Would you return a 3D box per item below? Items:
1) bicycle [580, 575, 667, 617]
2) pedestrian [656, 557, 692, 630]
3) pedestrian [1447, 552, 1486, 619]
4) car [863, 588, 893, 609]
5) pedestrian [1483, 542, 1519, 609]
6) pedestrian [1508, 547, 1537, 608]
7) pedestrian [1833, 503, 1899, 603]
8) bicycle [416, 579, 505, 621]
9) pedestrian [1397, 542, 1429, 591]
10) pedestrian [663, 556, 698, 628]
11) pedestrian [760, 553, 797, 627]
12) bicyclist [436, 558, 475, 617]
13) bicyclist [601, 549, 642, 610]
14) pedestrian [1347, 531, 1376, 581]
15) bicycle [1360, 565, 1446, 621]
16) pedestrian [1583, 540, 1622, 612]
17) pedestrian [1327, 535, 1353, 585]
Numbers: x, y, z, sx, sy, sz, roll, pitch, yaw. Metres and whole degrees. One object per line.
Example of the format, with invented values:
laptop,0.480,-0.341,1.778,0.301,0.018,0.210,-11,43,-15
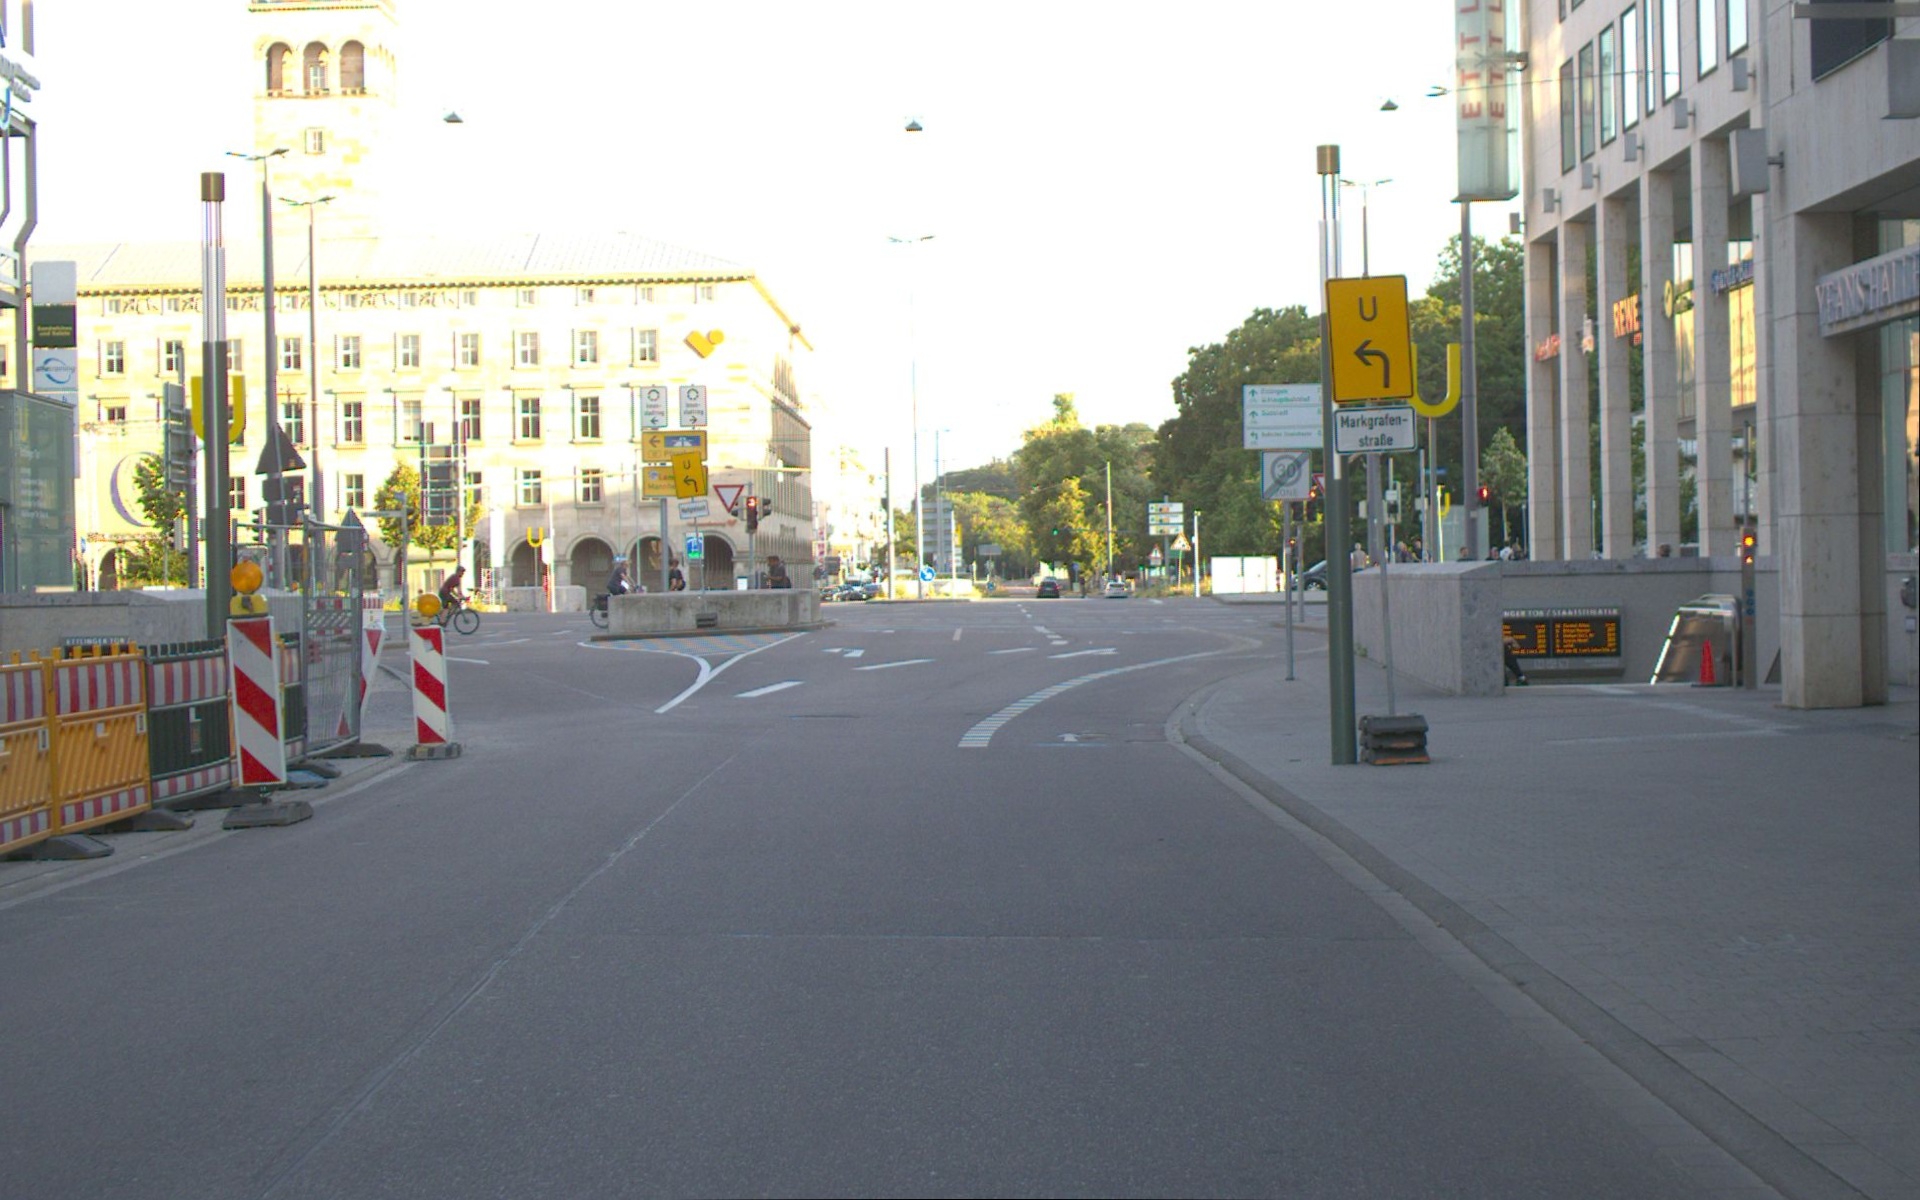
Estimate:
bicycle,-9.027,-0.115,92.338,2.242,1.058,0.653,-1,1,1
pedestrian,-7.142,-0.174,85.919,0.738,1.771,0.863,-4,1,-2
pedestrian,13.831,-0.391,93.925,0.860,1.771,0.741,-4,1,2
car,-6.182,-0.116,258.330,1.993,1.514,4.000,-1,1,2
pedestrian,14.735,-0.673,93.631,0.756,1.771,0.741,-4,1,2
pedestrian,16.015,-0.653,97.875,0.692,1.724,0.741,-1,1,3
pedestrian,16.508,-0.854,62.676,0.860,1.771,0.990,-2,1,0
bicycle,-13.306,-0.010,91.645,2.242,1.058,0.653,-1,1,2
pedestrian,15.980,-1.186,121.276,0.808,1.724,0.688,-1,1,-30
pedestrian,-7.071,-0.214,86.967,0.738,1.771,0.863,-4,1,-2
pedestrian,-4.405,-0.245,83.495,0.738,1.771,0.863,-3,1,-8
bicyclist,-13.454,-0.338,91.646,0.879,1.525,0.653,-1,1,2
bicyclist,-9.089,-0.564,92.335,1.019,1.615,0.653,-1,1,1
pedestrian,14.150,-1.545,121.136,0.808,1.724,0.688,-1,1,-10
bicycle,9.874,-0.153,76.646,1.819,1.208,0.570,-1,1,16
pedestrian,16.673,-0.624,89.216,0.893,1.834,0.688,-1,1,4
pedestrian,13.355,-1.398,120.758,0.808,1.724,0.688,-1,1,-1
